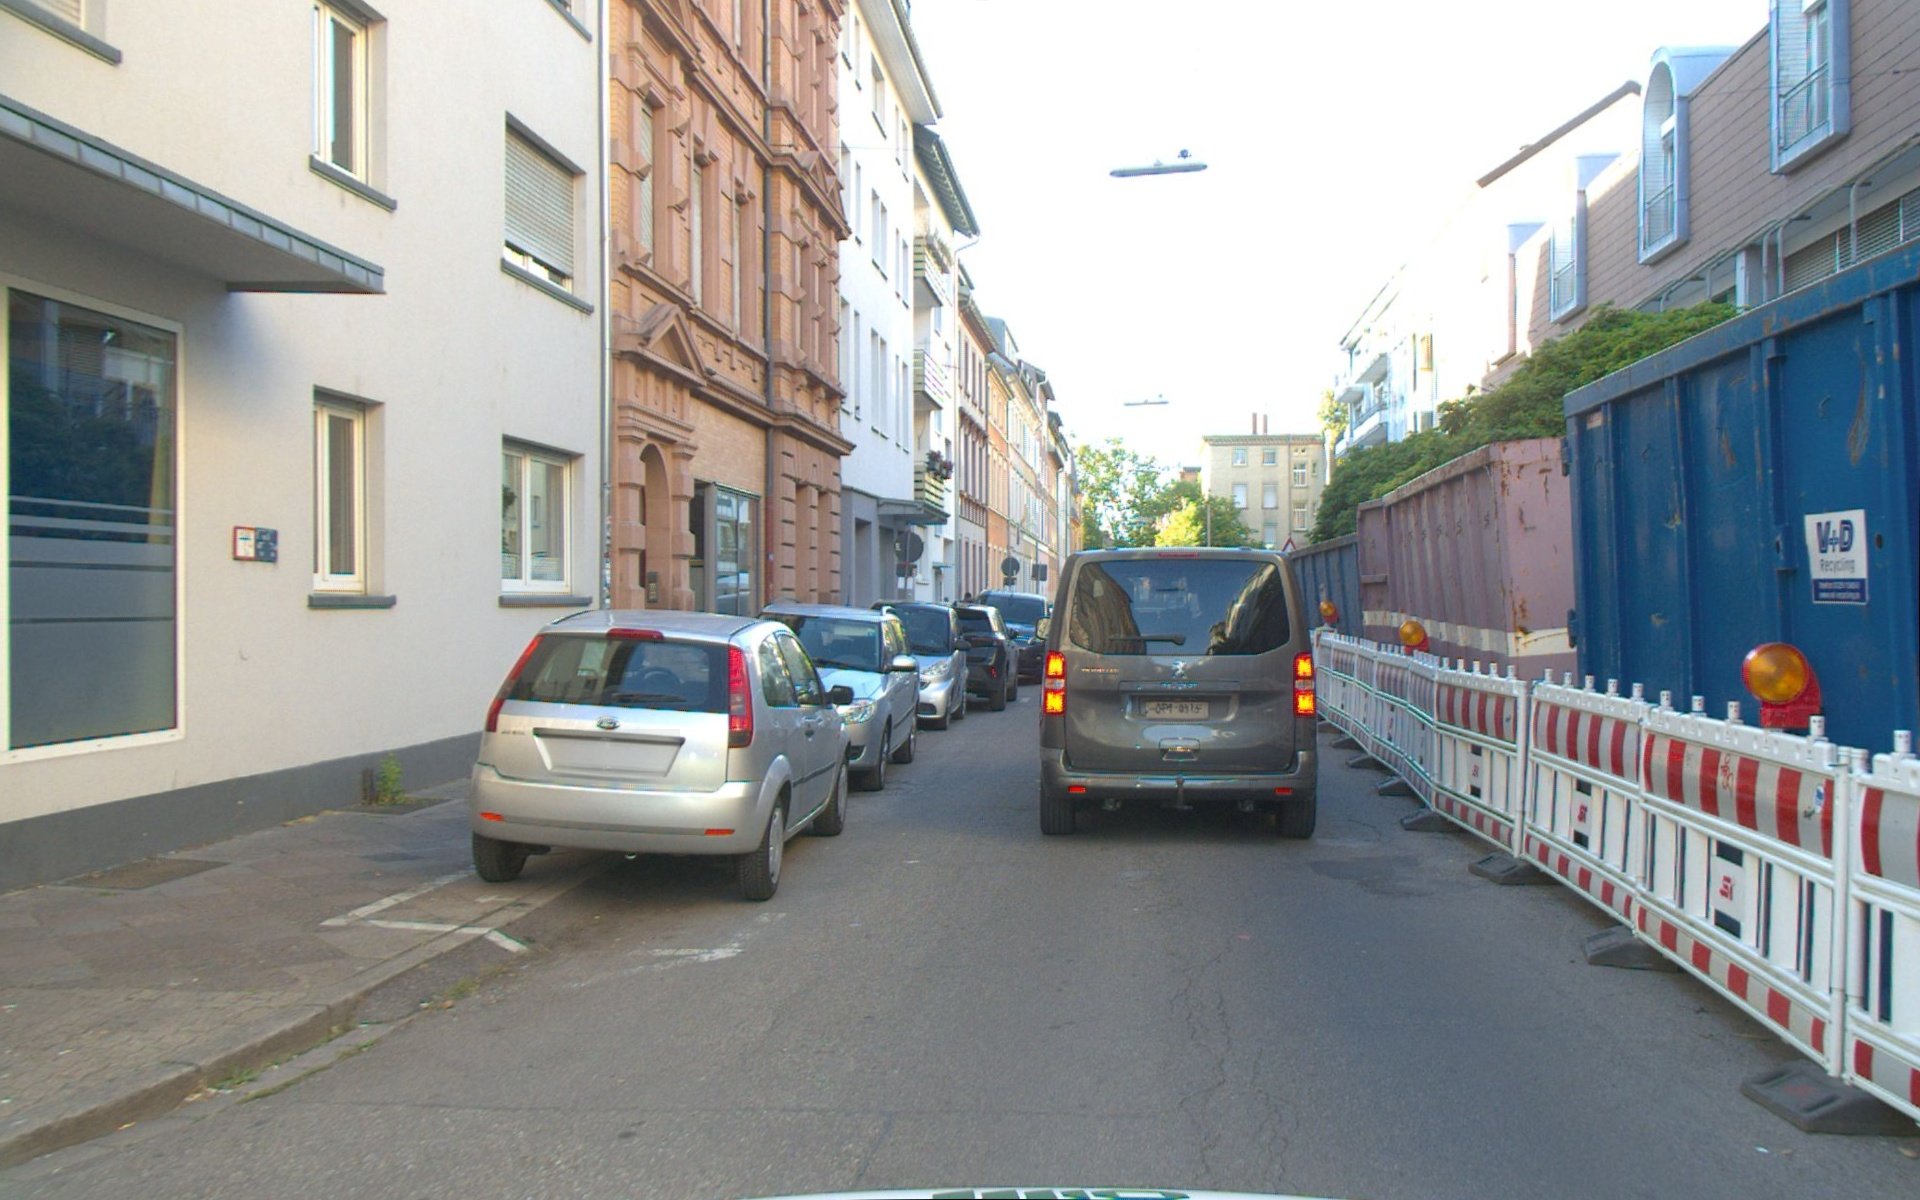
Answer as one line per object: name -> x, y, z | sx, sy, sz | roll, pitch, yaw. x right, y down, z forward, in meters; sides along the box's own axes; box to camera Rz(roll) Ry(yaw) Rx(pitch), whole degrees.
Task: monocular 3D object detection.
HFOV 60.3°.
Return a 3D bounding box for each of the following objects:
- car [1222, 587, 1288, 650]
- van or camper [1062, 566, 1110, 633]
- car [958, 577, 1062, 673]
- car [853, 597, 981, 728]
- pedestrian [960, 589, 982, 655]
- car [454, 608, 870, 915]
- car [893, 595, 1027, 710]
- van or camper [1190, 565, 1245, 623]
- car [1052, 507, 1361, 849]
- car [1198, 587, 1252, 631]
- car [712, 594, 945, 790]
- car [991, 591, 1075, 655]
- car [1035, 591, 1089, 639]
car -> 8.458, 0.491, 47.736 | 1.711, 1.712, 4.529 | 1, 1, 8
van or camper -> 5.412, -0.030, 71.250 | 1.908, 2.695, 7.145 | -1, 0, 4
car -> 1.130, 0.473, 35.095 | 1.951, 1.891, 4.588 | 0, 0, 5
car -> -0.522, 0.780, 22.141 | 1.366, 1.616, 2.796 | 0, 0, 6
pedestrian -> 0.287, 0.559, 42.382 | 0.484, 1.667, 0.666 | 1, 0, 6
car -> -1.584, 0.806, 9.981 | 1.598, 1.455, 3.557 | 0, 0, 5
car -> 0.076, 0.751, 25.945 | 1.703, 1.627, 4.017 | 0, 0, 6
van or camper -> 12.535, -0.305, 80.865 | 2.055, 2.647, 7.517 | -1, 0, 5
car -> 1.701, 0.469, 12.182 | 1.818, 2.049, 4.003 | -2, 0, 5
car -> 10.365, 0.335, 64.887 | 1.686, 1.640, 4.591 | 0, 0, 4
car -> -1.110, 0.747, 15.481 | 1.522, 1.535, 3.600 | 2, 1, 5
car -> 2.008, 0.576, 44.479 | 1.634, 1.511, 3.609 | 5, 1, 11
car -> 3.410, 0.474, 54.924 | 1.622, 1.473, 3.288 | 3, 1, 5
